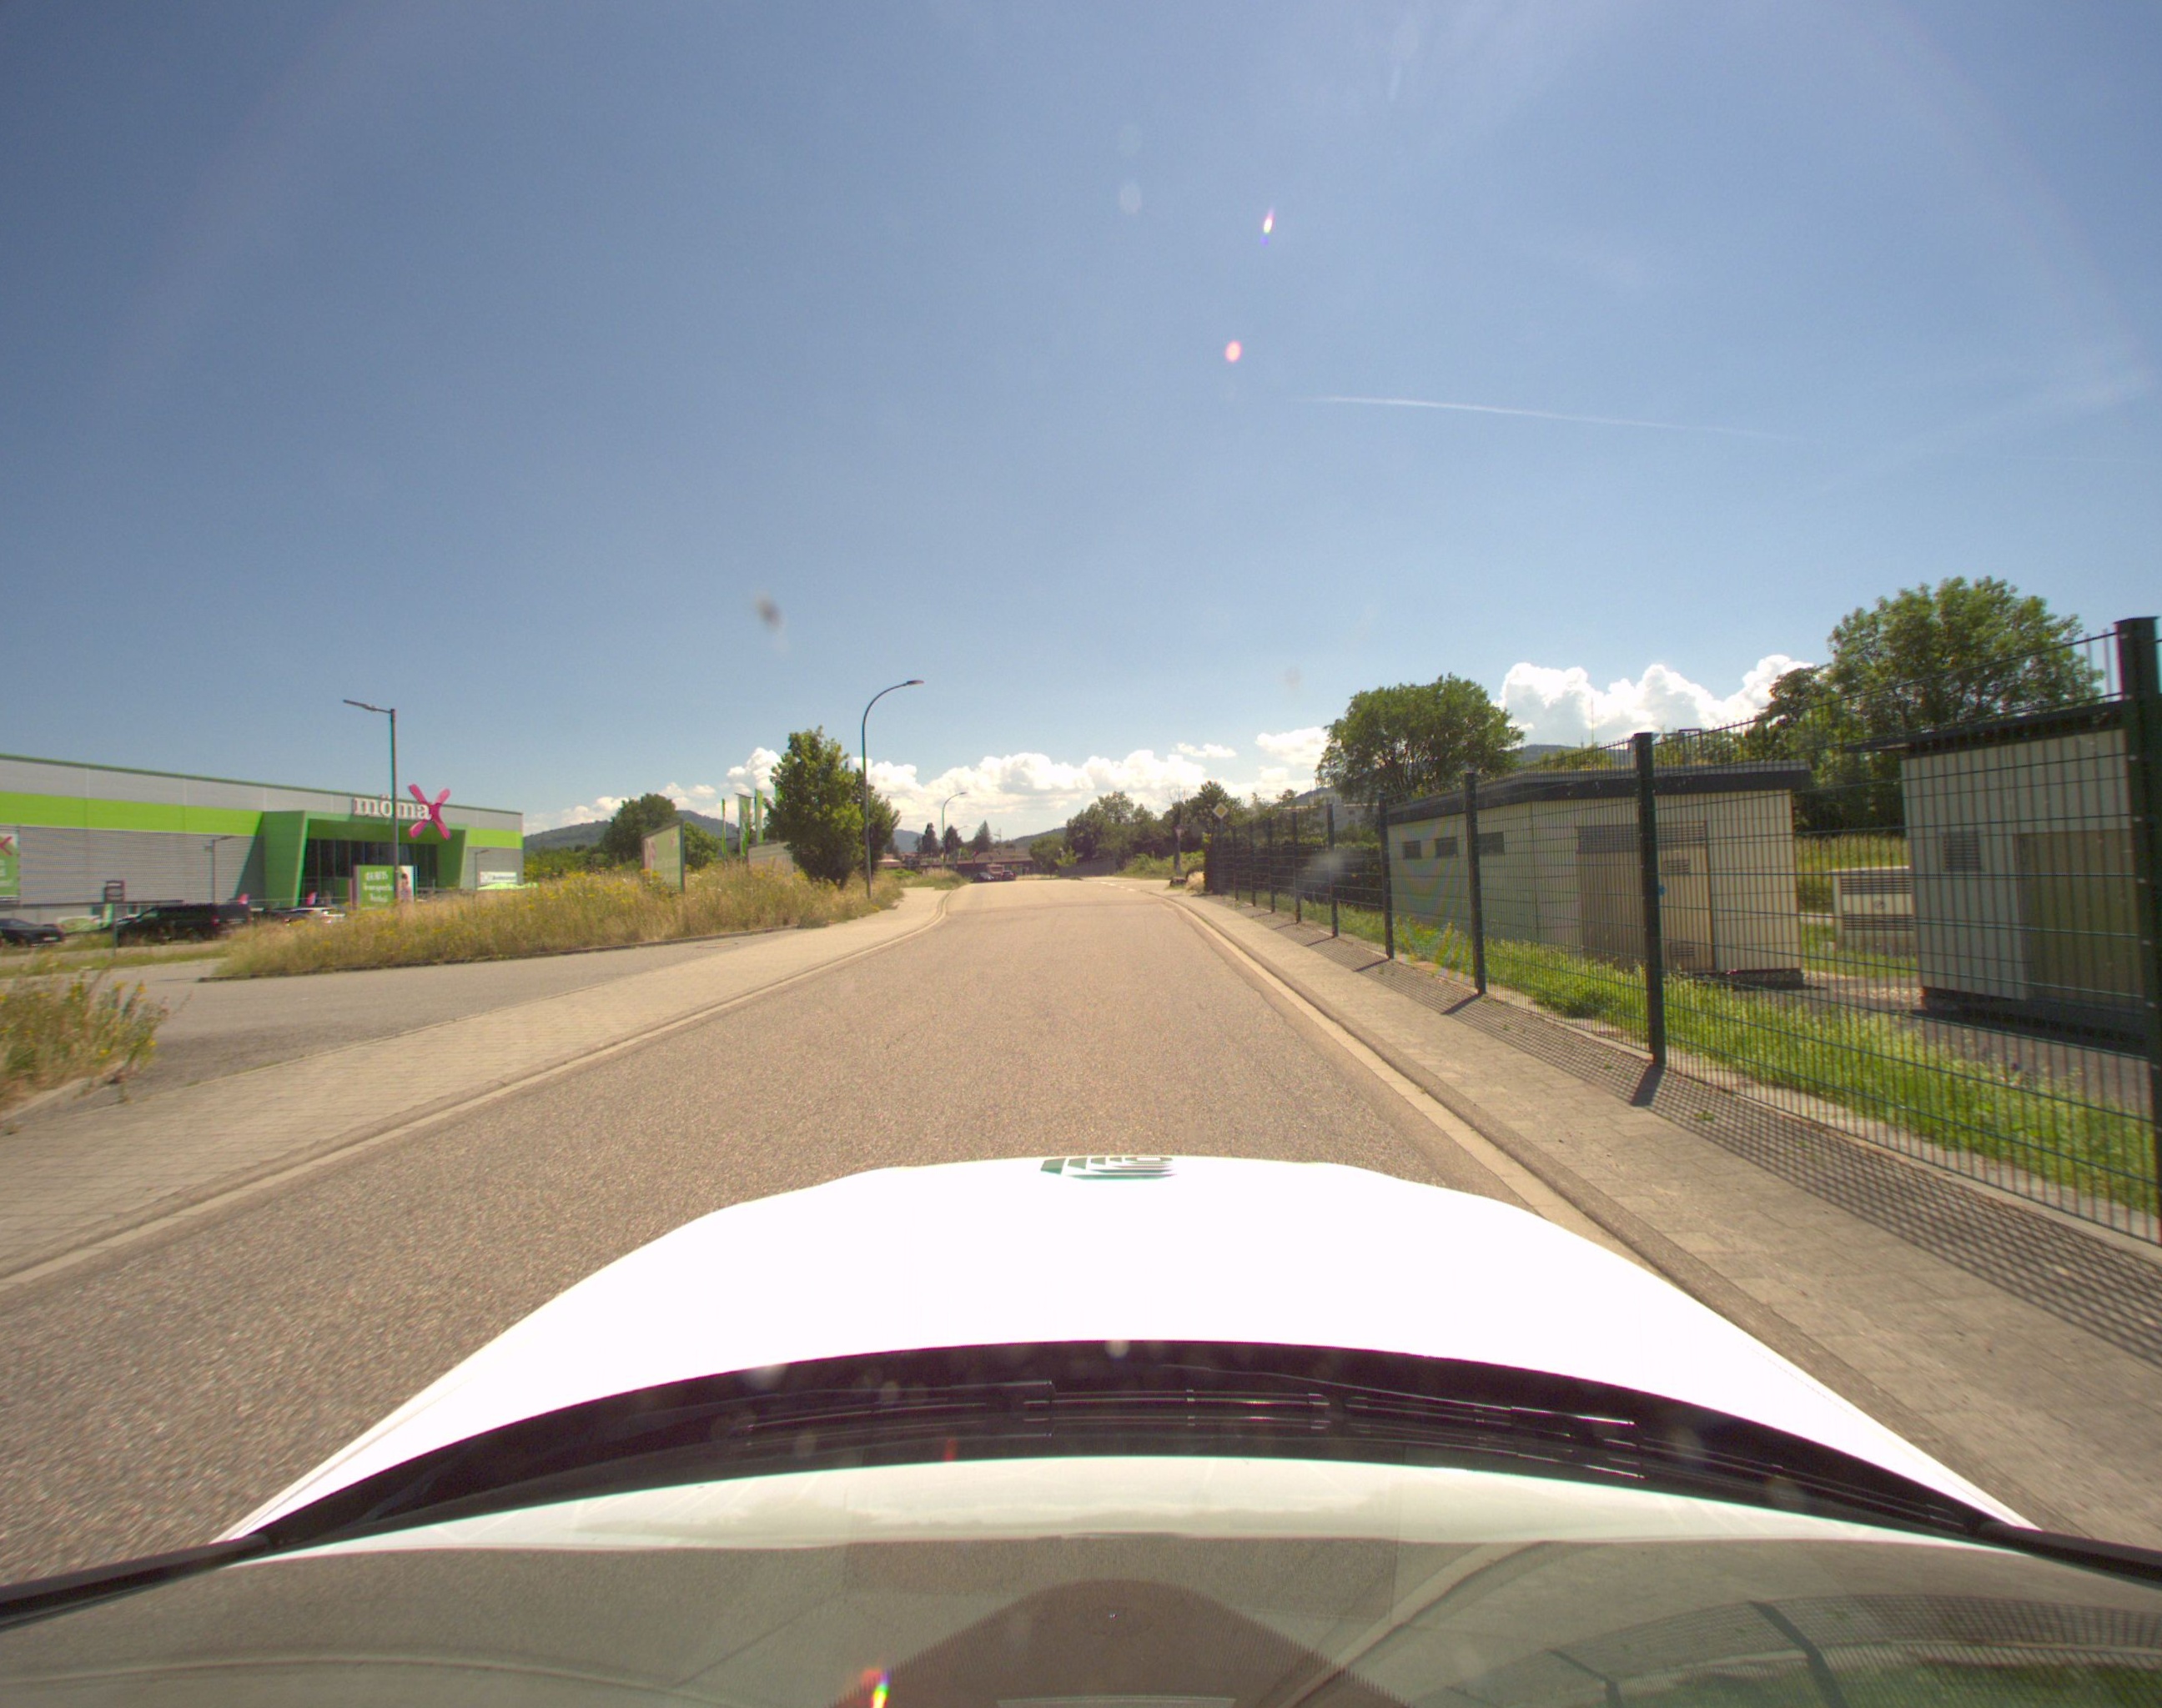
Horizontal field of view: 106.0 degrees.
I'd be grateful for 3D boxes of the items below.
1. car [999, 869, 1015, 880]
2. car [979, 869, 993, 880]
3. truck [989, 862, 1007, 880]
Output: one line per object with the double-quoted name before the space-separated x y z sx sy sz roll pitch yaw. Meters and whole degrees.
"car" -10.418 2.850 114.115 1.777 1.448 3.438 -2 0 -12
"car" -13.035 2.827 112.092 1.681 1.448 3.440 -2 0 -10
"truck" -13.782 2.784 135.016 2.681 2.772 6.072 -2 0 -8
